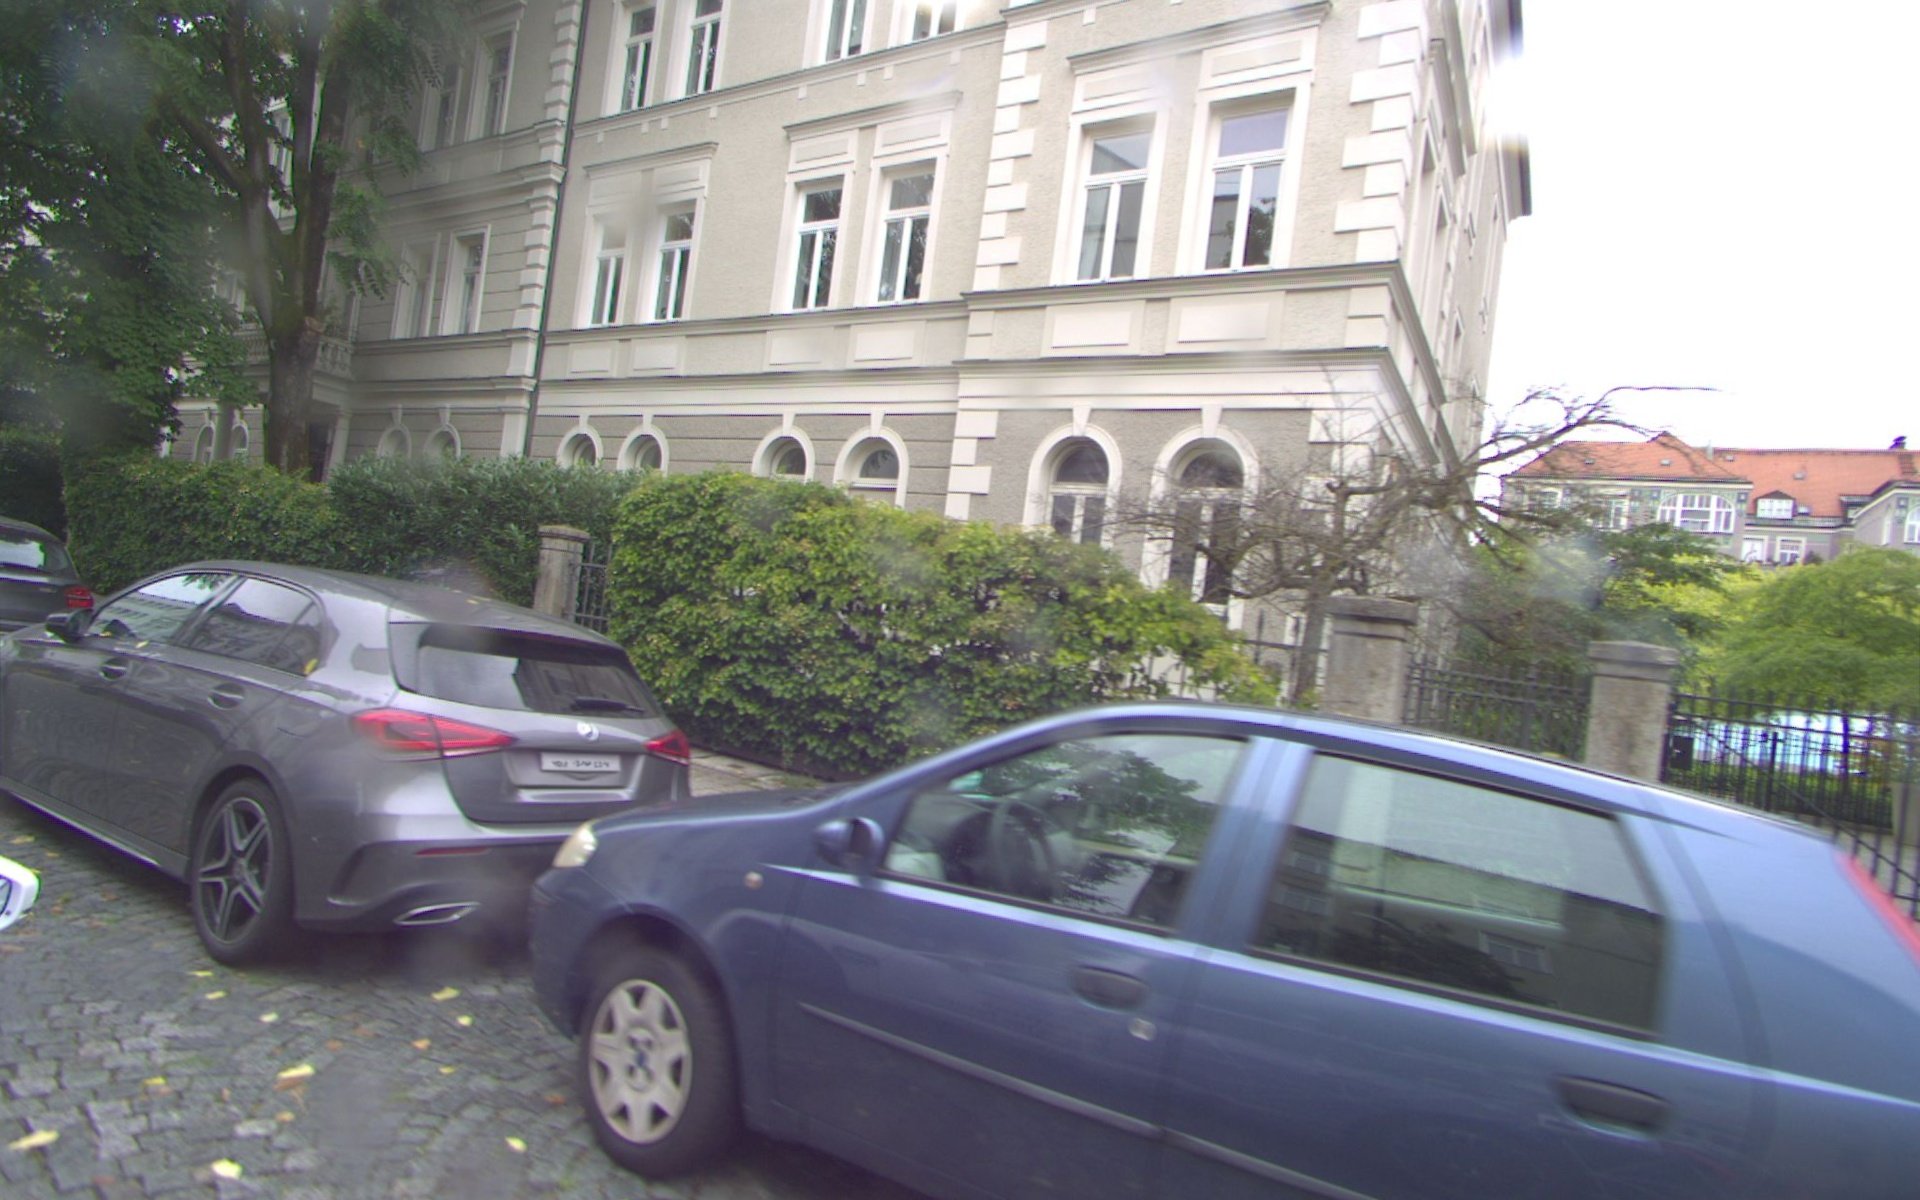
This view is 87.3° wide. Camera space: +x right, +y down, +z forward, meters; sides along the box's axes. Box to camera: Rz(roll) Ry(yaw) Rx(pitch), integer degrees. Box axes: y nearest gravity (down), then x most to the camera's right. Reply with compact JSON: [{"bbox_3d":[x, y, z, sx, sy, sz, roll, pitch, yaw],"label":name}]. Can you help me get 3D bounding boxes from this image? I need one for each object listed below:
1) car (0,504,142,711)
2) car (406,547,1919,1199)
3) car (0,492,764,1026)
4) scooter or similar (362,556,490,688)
[{"bbox_3d":[-9.070,-0.190,8.566,4.349,1.506,1.842,7,-4,33],"label":"car"},{"bbox_3d":[0.585,0.893,2.865,3.990,1.456,1.701,7,-4,27],"label":"car"},{"bbox_3d":[-3.216,0.468,4.921,4.197,1.488,1.719,7,-4,31],"label":"car"},{"bbox_3d":[-5.734,0.221,10.798,1.223,1.251,0.415,7,3,20],"label":"scooter or similar"}]
